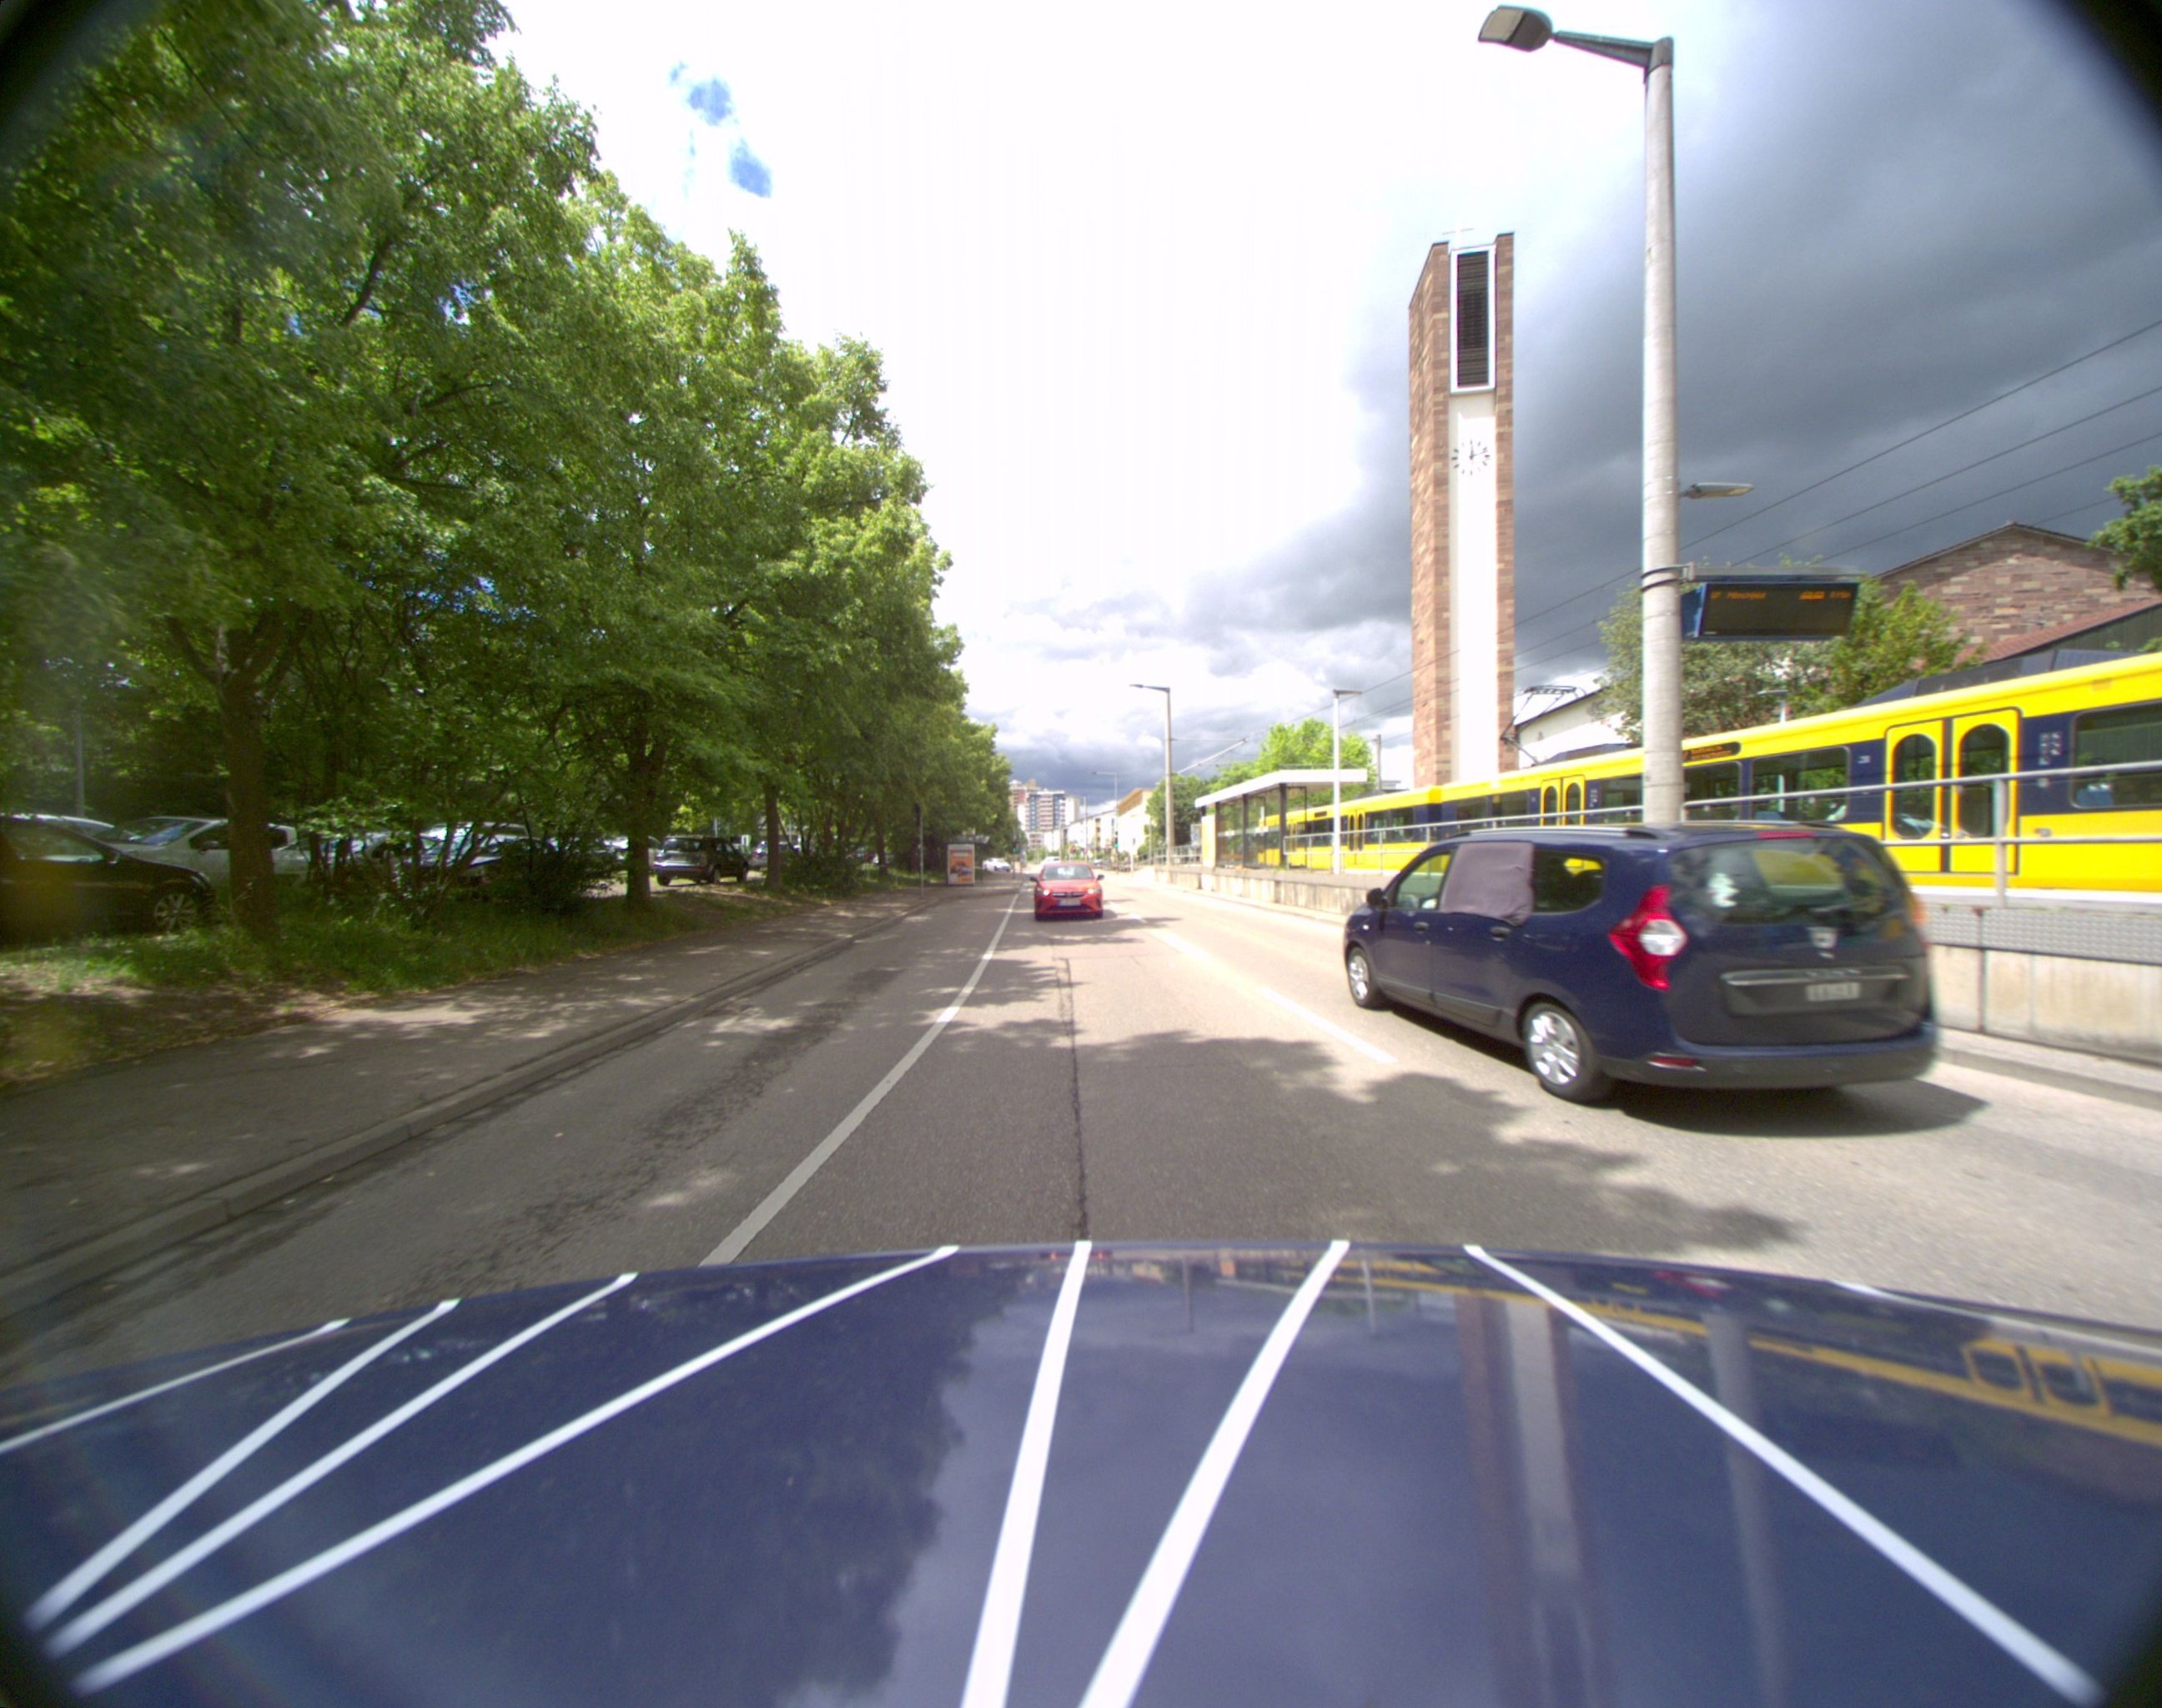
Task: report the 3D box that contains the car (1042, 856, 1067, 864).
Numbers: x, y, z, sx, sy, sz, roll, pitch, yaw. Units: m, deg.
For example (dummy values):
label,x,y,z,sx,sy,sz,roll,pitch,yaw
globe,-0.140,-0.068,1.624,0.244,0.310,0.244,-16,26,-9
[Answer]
label,x,y,z,sx,sy,sz,roll,pitch,yaw
car,-4.658,1.079,132.172,4.148,1.286,1.627,3,0,-40

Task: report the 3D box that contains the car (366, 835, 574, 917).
label,x,y,z,sx,sy,sz,roll,pitch,yaw
car,-11.978,0.404,15.239,1.614,1.405,3.815,1,0,-10

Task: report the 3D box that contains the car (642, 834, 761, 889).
label,x,y,z,sx,sy,sz,roll,pitch,yaw
car,-12.676,0.237,25.773,1.852,1.652,4.722,-1,0,-3

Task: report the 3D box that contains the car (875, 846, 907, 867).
label,x,y,z,sx,sy,sz,roll,pitch,yaw
car,-14.917,0.183,59.767,1.631,1.505,4.137,3,0,-3

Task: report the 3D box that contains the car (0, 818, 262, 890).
label,x,y,z,sx,sy,sz,roll,pitch,yaw
car,-20.187,-0.005,16.104,1.791,1.310,3.621,2,0,-2

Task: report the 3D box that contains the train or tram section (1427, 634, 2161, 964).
label,x,y,z,sx,sy,sz,roll,pitch,yaw
train or tram section,12.540,-0.623,13.358,3.117,3.444,18.990,-3,0,-3

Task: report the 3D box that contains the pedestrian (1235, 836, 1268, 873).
label,x,y,z,sx,sy,sz,roll,pitch,yaw
pedestrian,5.551,0.012,24.803,0.798,1.180,0.919,1,0,-5

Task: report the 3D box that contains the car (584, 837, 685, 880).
label,x,y,z,sx,sy,sz,roll,pitch,yaw
car,-18.002,0.190,30.883,1.473,1.546,4.431,3,-1,-1

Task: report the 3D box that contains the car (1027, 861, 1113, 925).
label,x,y,z,sx,sy,sz,roll,pitch,yaw
car,-0.397,0.950,20.163,1.784,1.433,4.128,-3,0,-7

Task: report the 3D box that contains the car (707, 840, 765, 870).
label,x,y,z,sx,sy,sz,roll,pitch,yaw
car,-19.058,0.034,42.171,1.693,1.484,3.791,3,1,-4

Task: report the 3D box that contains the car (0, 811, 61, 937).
label,x,y,z,sx,sy,sz,roll,pitch,yaw
car,-14.073,0.242,7.918,1.639,1.557,3.988,1,0,-4

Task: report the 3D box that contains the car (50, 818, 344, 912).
label,x,y,z,sx,sy,sz,roll,pitch,yaw
car,-17.384,0.197,15.250,1.697,1.604,3.621,2,0,-2

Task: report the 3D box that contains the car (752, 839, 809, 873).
label,x,y,z,sx,sy,sz,roll,pitch,yaw
car,-16.645,0.046,42.289,1.693,1.685,4.259,3,1,-4

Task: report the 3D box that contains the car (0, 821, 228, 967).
label,x,y,z,sx,sy,sz,roll,pitch,yaw
car,-11.672,0.383,7.660,1.802,1.455,3.988,1,0,-4

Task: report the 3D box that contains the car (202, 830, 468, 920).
label,x,y,z,sx,sy,sz,roll,pitch,yaw
car,-14.389,0.362,14.981,1.697,1.499,3.621,2,0,-2

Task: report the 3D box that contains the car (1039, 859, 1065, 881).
label,x,y,z,sx,sy,sz,roll,pitch,yaw
car,-1.990,1.069,51.604,1.499,1.477,3.518,0,0,-7

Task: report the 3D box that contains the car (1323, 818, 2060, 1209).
label,x,y,z,sx,sy,sz,roll,pitch,yaw
car,3.479,0.715,5.615,1.725,1.672,4.386,-3,0,-3

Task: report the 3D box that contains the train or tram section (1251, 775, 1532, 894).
label,x,y,z,sx,sy,sz,roll,pitch,yaw
train or tram section,11.447,-0.582,32.225,3.117,3.444,18.819,-3,0,-3

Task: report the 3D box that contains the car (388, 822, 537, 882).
label,x,y,z,sx,sy,sz,roll,pitch,yaw
car,-20.440,-0.059,25.362,1.617,1.779,4.206,2,0,-3

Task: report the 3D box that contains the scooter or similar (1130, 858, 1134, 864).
label,x,y,z,sx,sy,sz,roll,pitch,yaw
scooter or similar,8.657,1.180,128.820,0.606,1.108,0.820,-1,0,-5
